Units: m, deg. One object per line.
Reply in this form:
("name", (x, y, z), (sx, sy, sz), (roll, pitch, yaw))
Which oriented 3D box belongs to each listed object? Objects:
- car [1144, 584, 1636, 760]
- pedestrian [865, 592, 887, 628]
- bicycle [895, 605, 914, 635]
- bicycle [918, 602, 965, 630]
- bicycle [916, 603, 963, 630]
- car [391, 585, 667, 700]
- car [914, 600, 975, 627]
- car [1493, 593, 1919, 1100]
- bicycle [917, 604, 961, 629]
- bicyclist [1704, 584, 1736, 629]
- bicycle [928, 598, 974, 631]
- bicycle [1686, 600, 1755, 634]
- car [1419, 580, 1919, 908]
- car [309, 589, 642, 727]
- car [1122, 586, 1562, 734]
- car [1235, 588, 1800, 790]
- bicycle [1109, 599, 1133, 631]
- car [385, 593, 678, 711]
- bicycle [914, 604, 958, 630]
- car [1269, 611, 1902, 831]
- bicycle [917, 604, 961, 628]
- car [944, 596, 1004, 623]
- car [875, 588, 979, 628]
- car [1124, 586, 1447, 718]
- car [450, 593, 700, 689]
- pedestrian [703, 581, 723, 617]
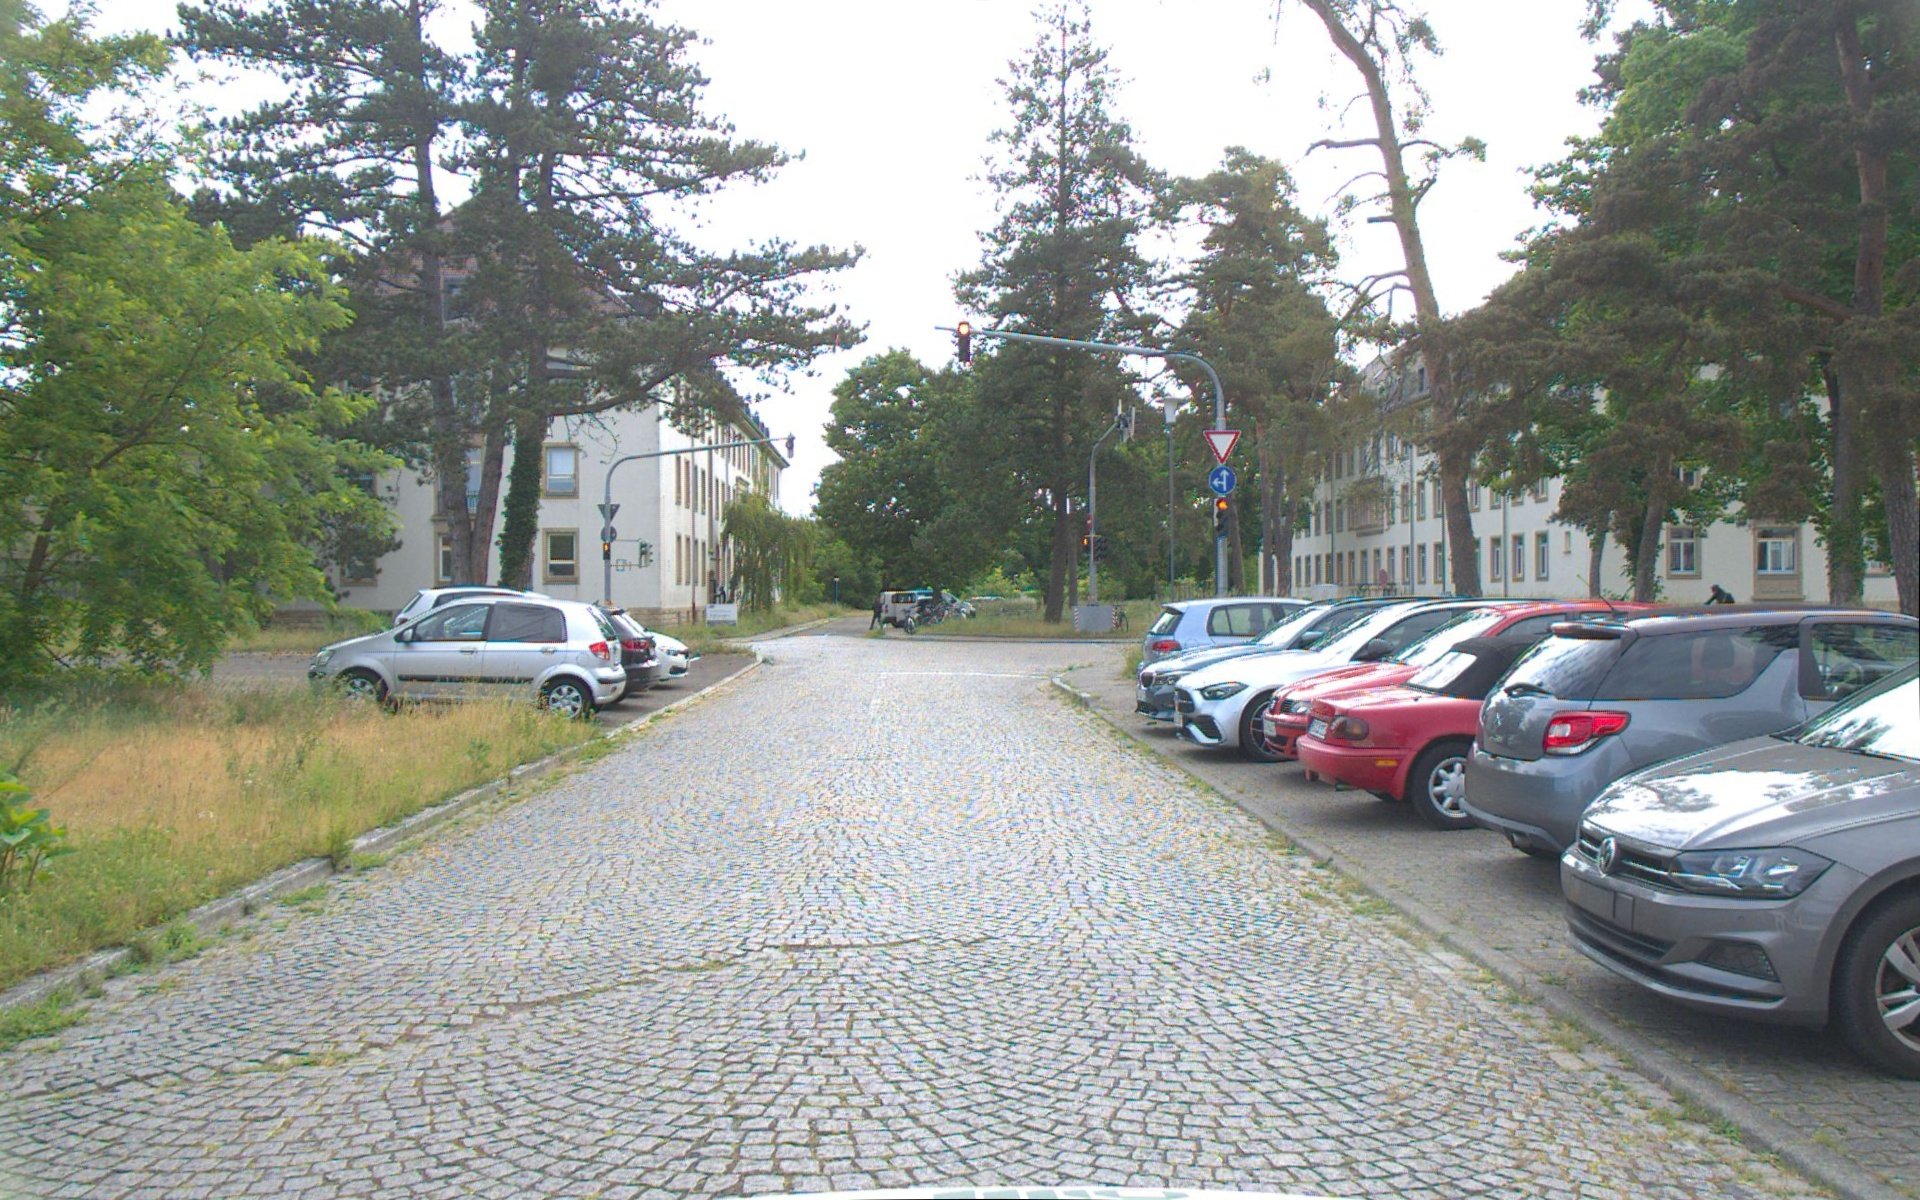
("car", (4.202, 0.655, 16.450), (4.343, 1.441, 1.866), (-2, 0, -11))
("pedestrian", (-3.826, 0.452, 75.323), (0.729, 1.647, 0.770), (-1, 0, -25))
("bicycle", (-2.266, 0.799, 67.006), (0.591, 1.152, 1.958), (0, 0, -7))
("bicycle", (-0.800, 0.686, 70.260), (1.919, 1.152, 0.587), (0, 0, -9))
("bicycle", (-0.884, 0.710, 70.890), (1.919, 1.136, 0.587), (0, 0, -9))
("car", (-6.624, 0.640, 25.747), (3.871, 1.590, 1.648), (2, 0, -5))
("car", (-0.798, 0.683, 84.986), (2.949, 1.290, 1.532), (-1, 0, -8))
("car", (4.203, 0.720, 6.195), (3.788, 1.498, 1.756), (-2, 0, -6))
("bicycle", (-0.936, 0.734, 73.722), (1.936, 1.088, 0.581), (0, 0, -32))
("bicyclist", (24.045, 0.202, 52.335), (0.734, 1.435, 0.605), (0, 0, 0))
("bicycle", (-0.383, 0.624, 71.741), (1.919, 1.408, 0.587), (0, 0, -9))
("bicycle", (24.050, 0.538, 52.338), (1.915, 1.042, 0.605), (0, 0, 0))
("car", (4.694, 0.678, 9.087), (3.786, 1.498, 1.757), (-2, 0, -3))
("car", (-5.881, 0.690, 20.396), (3.631, 1.505, 1.581), (2, 0, -5))
("car", (4.323, 0.649, 19.143), (4.589, 1.441, 1.869), (-2, 0, -5))
("car", (4.643, 0.707, 14.198), (4.176, 1.441, 1.870), (-2, 0, -2))
("bicycle", (5.678, 0.516, 58.395), (0.574, 1.125, 1.960), (0, 0, -2))
("car", (-5.872, 0.705, 22.995), (3.673, 1.453, 1.581), (2, 0, -5))
("bicycle", (-1.039, 0.734, 72.368), (1.936, 1.088, 0.581), (0, 0, -32))
("car", (4.286, 0.789, 11.723), (3.786, 1.258, 1.757), (-2, 0, -3))
("bicycle", (-0.957, 0.720, 75.076), (1.932, 1.088, 0.583), (0, 0, -27))
("car", (0.762, 0.504, 92.294), (3.169, 1.441, 1.723), (-1, 0, -5))
("car", (-1.784, 0.407, 88.314), (5.265, 1.958, 2.019), (-2, 0, -11))
("car", (4.166, 0.644, 21.589), (3.847, 1.503, 1.642), (-2, 0, -1))
("car", (-6.515, 0.679, 28.294), (3.869, 1.446, 1.649), (2, 0, -3))
("pedestrian", (-12.776, -0.041, 85.546), (0.767, 1.870, 0.732), (0, 0, -33))
